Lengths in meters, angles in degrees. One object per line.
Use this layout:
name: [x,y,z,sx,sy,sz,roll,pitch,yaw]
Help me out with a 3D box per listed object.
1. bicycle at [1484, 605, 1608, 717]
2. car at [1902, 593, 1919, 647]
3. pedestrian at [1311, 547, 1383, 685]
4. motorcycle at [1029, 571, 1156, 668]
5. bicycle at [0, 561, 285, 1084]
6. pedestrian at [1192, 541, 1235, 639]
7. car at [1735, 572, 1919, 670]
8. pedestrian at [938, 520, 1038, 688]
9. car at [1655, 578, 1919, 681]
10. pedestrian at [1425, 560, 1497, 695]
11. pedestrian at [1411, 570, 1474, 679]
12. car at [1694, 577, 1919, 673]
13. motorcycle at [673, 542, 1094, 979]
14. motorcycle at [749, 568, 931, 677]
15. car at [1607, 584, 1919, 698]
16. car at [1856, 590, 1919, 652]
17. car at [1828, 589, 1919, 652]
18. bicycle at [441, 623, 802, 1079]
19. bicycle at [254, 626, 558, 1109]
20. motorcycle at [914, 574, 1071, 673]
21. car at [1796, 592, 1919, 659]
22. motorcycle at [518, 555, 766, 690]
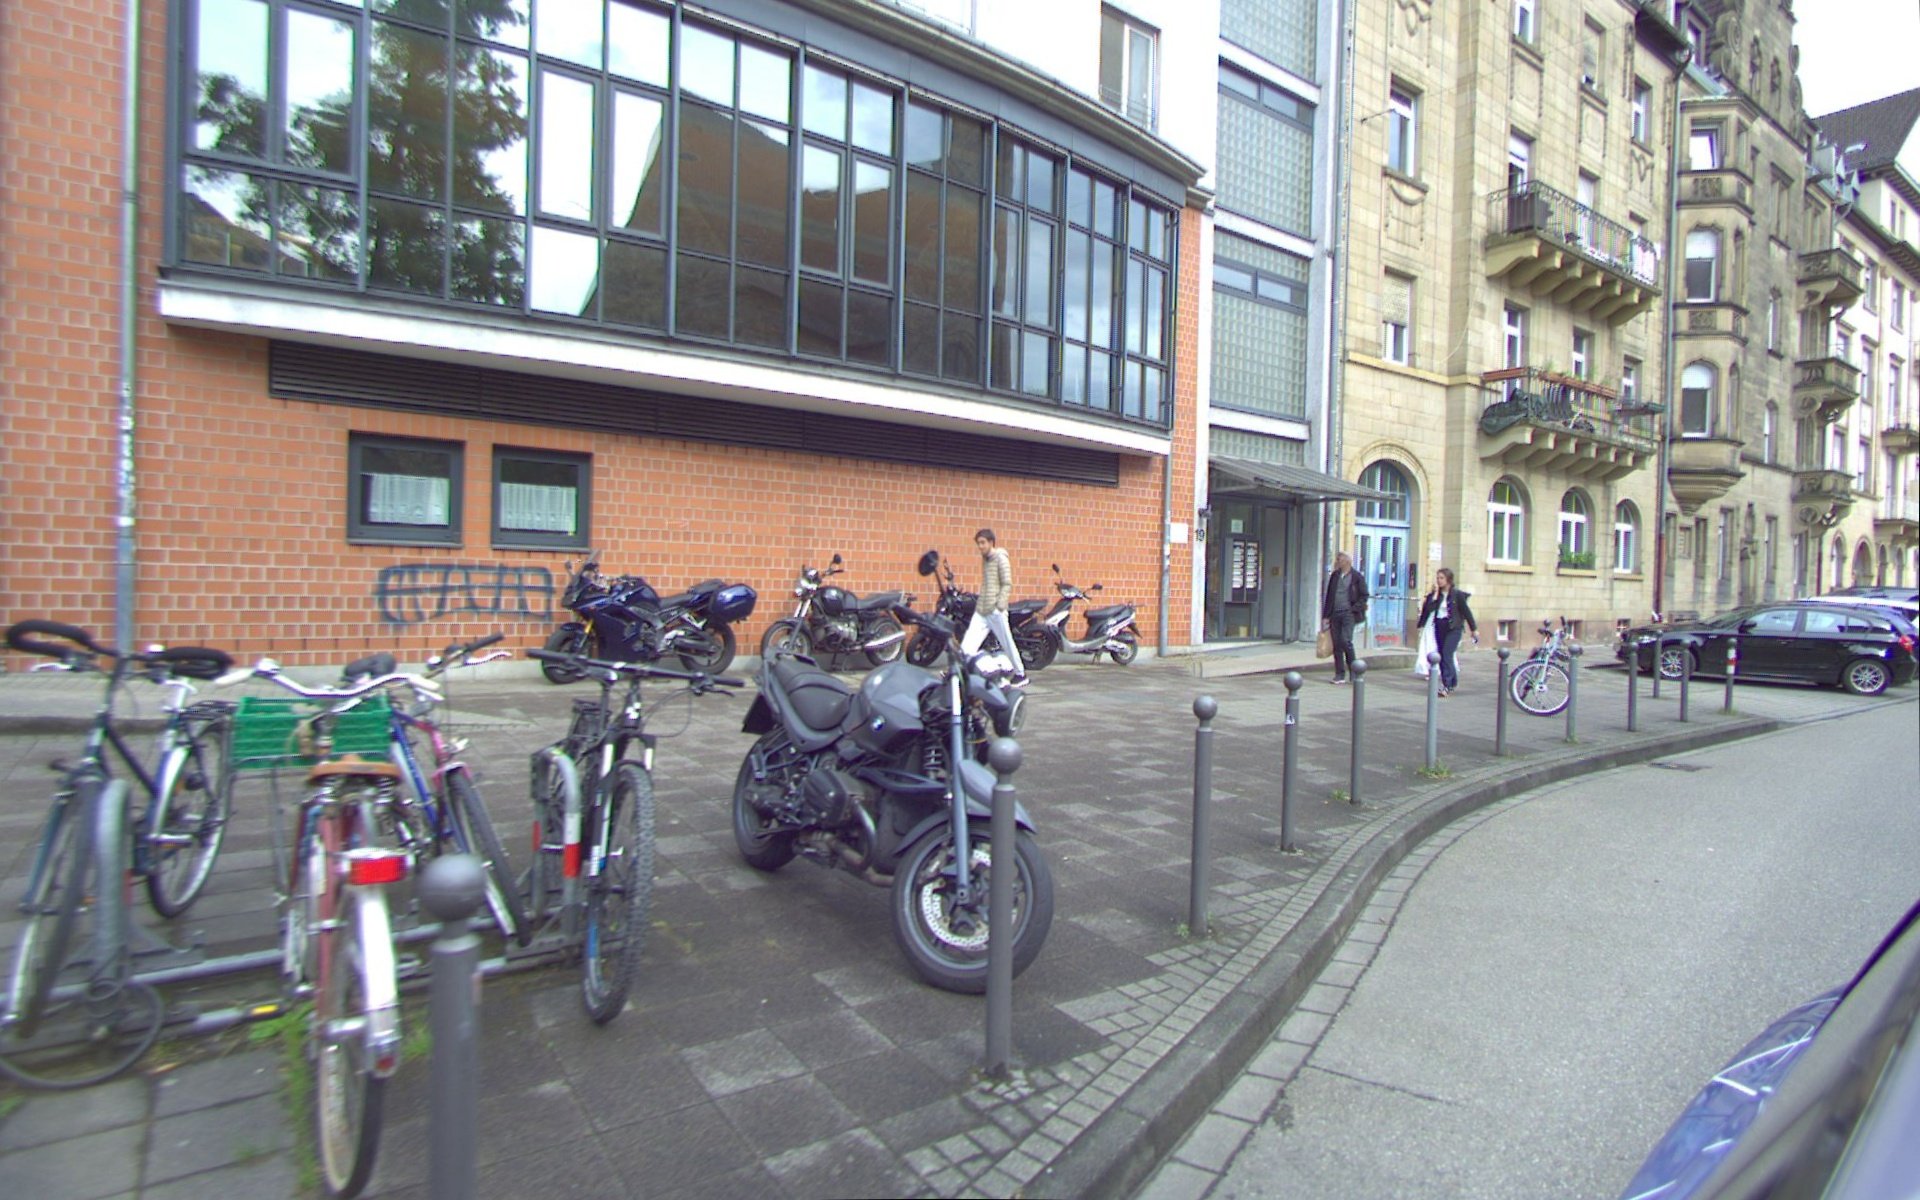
bicycle: [6.901,0.674,12.019,0.719,1.117,1.730,3,2,13]
car: [32.899,0.789,31.888,4.174,1.702,1.904,4,3,21]
pedestrian: [5.234,0.194,13.708,0.531,1.792,0.645,0,4,-37]
motorcycle: [1.814,0.268,13.874,1.534,1.208,0.604,3,1,-13]
bicycle: [-2.508,0.455,3.082,0.601,1.090,1.934,-1,3,-38]
pedestrian: [4.667,-0.198,18.636,0.558,1.765,0.541,0,1,-37]
car: [20.539,0.489,22.899,4.220,1.929,1.872,5,2,14]
pedestrian: [0.308,0.031,11.258,0.797,1.774,0.631,1,4,-39]
car: [16.061,0.512,19.546,3.961,1.552,1.915,6,3,26]
pedestrian: [6.483,0.333,13.091,0.704,1.682,0.519,-1,4,-39]
pedestrian: [7.039,0.335,14.768,0.704,1.528,0.519,-1,4,-39]
car: [18.073,0.502,21.117,3.944,1.620,1.758,5,3,15]
motorcycle: [-0.467,0.487,4.447,0.757,1.447,2.140,-1,3,-38]
motorcycle: [-1.357,0.238,11.698,2.031,1.158,0.603,1,2,-36]
car: [13.950,0.643,17.572,4.213,1.496,1.672,6,3,22]
car: [30.159,0.743,30.142,4.691,1.705,1.926,4,4,19]
car: [27.438,0.676,28.269,4.404,1.593,1.739,5,3,16]
bicycle: [-1.347,0.701,3.700,0.601,1.075,2.015,-1,3,-38]
bicycle: [-1.990,0.698,3.479,0.601,1.056,1.934,-1,3,-38]
motorcycle: [0.400,0.289,12.737,1.843,1.158,0.604,2,2,-10]
car: [25.119,0.712,26.581,4.403,1.571,1.843,3,2,16]
motorcycle: [-3.211,0.204,10.303,2.167,1.217,1.031,1,2,-37]
